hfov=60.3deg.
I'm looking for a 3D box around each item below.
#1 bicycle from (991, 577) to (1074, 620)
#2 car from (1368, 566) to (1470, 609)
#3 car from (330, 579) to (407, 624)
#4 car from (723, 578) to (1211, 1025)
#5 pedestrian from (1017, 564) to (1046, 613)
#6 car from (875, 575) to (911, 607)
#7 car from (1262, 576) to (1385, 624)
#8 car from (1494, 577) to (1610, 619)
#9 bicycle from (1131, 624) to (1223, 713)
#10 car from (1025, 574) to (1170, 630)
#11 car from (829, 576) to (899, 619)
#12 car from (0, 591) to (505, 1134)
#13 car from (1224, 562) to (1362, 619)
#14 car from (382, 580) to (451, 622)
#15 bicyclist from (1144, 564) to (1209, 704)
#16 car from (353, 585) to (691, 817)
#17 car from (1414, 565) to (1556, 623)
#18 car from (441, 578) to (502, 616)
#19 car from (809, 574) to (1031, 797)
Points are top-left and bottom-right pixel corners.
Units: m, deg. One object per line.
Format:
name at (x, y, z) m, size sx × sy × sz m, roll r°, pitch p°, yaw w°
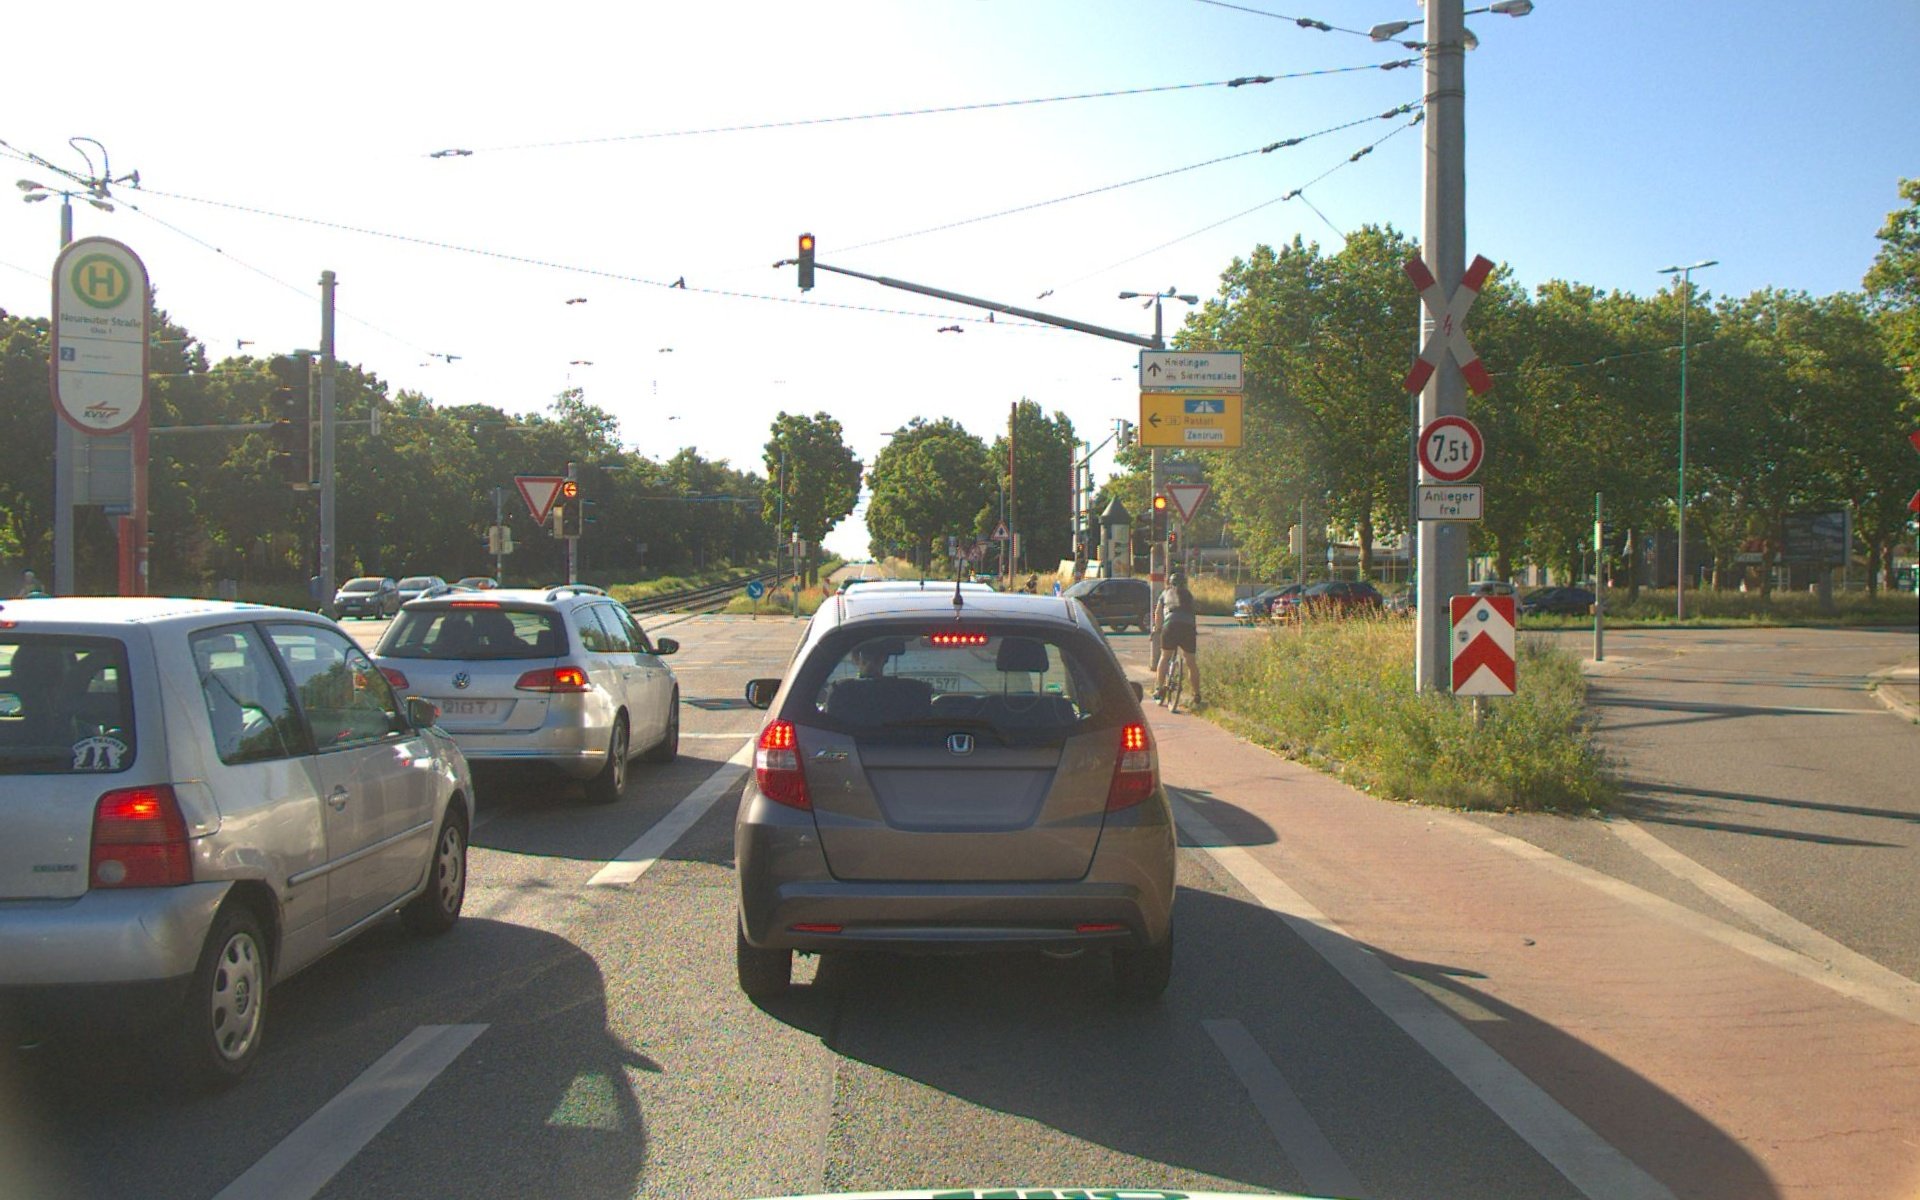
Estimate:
bicycle at (2.778, -0.073, 62.945) m, size 3.164 × 1.602 × 0.814 m, roll 0°, pitch 0°, yaw -26°
car at (17.563, -0.486, 63.339) m, size 3.694 × 1.597 × 1.480 m, roll -1°, pitch 0°, yaw -24°
car at (-21.323, 0.041, 59.741) m, size 1.798 × 1.575 × 3.993 m, roll 0°, pitch 0°, yaw -8°
car at (-0.064, 0.663, 7.350) m, size 1.635 × 1.487 × 3.584 m, roll 0°, pitch 0°, yaw -3°
pedestrian at (2.722, -0.447, 62.930) m, size 0.842 × 1.868 × 0.784 m, roll 0°, pitch 0°, yaw -26°
car at (-3.086, -0.401, 75.738) m, size 1.493 × 1.403 × 3.672 m, roll 0°, pitch 0°, yaw -5°
car at (12.352, -0.015, 56.159) m, size 3.934 × 1.557 × 1.594 m, roll -1°, pitch 1°, yaw -24°
car at (23.566, -0.104, 65.859) m, size 4.450 × 1.601 × 1.681 m, roll 0°, pitch 0°, yaw -24°
bicycle at (2.751, 0.843, 21.279) m, size 0.707 × 1.006 × 2.875 m, roll 1°, pitch 0°, yaw -2°
car at (3.997, 0.050, 48.020) m, size 3.915 × 1.571 × 1.582 m, roll 0°, pitch 0°, yaw -22°
car at (-3.438, -0.108, 59.822) m, size 1.673 × 1.504 × 4.004 m, roll 0°, pitch 0°, yaw 9°
car at (-2.897, 0.708, 6.080) m, size 1.586 × 1.442 × 3.350 m, roll 0°, pitch 0°, yaw -1°
car at (12.170, -0.331, 60.445) m, size 4.626 × 1.912 × 1.985 m, roll 2°, pitch 0°, yaw -24°
car at (-21.493, 0.023, 65.529) m, size 1.798 × 1.575 × 4.277 m, roll 0°, pitch 0°, yaw -8°
bicyclist at (2.763, 0.430, 21.200) m, size 0.652 × 1.746 × 0.948 m, roll 1°, pitch 0°, yaw -2°
car at (-3.156, 0.658, 12.720) m, size 1.586 × 1.482 × 4.084 m, roll 1°, pitch 0°, yaw -1°
car at (19.014, -0.231, 59.881) m, size 4.823 × 2.049 × 1.985 m, roll 0°, pitch 0°, yaw -24°
car at (-21.742, -0.161, 73.778) m, size 1.956 × 1.632 × 4.746 m, roll 1°, pitch 1°, yaw -8°
car at (-0.335, 0.602, 13.982) m, size 1.578 × 1.589 × 4.287 m, roll 0°, pitch 0°, yaw -1°
